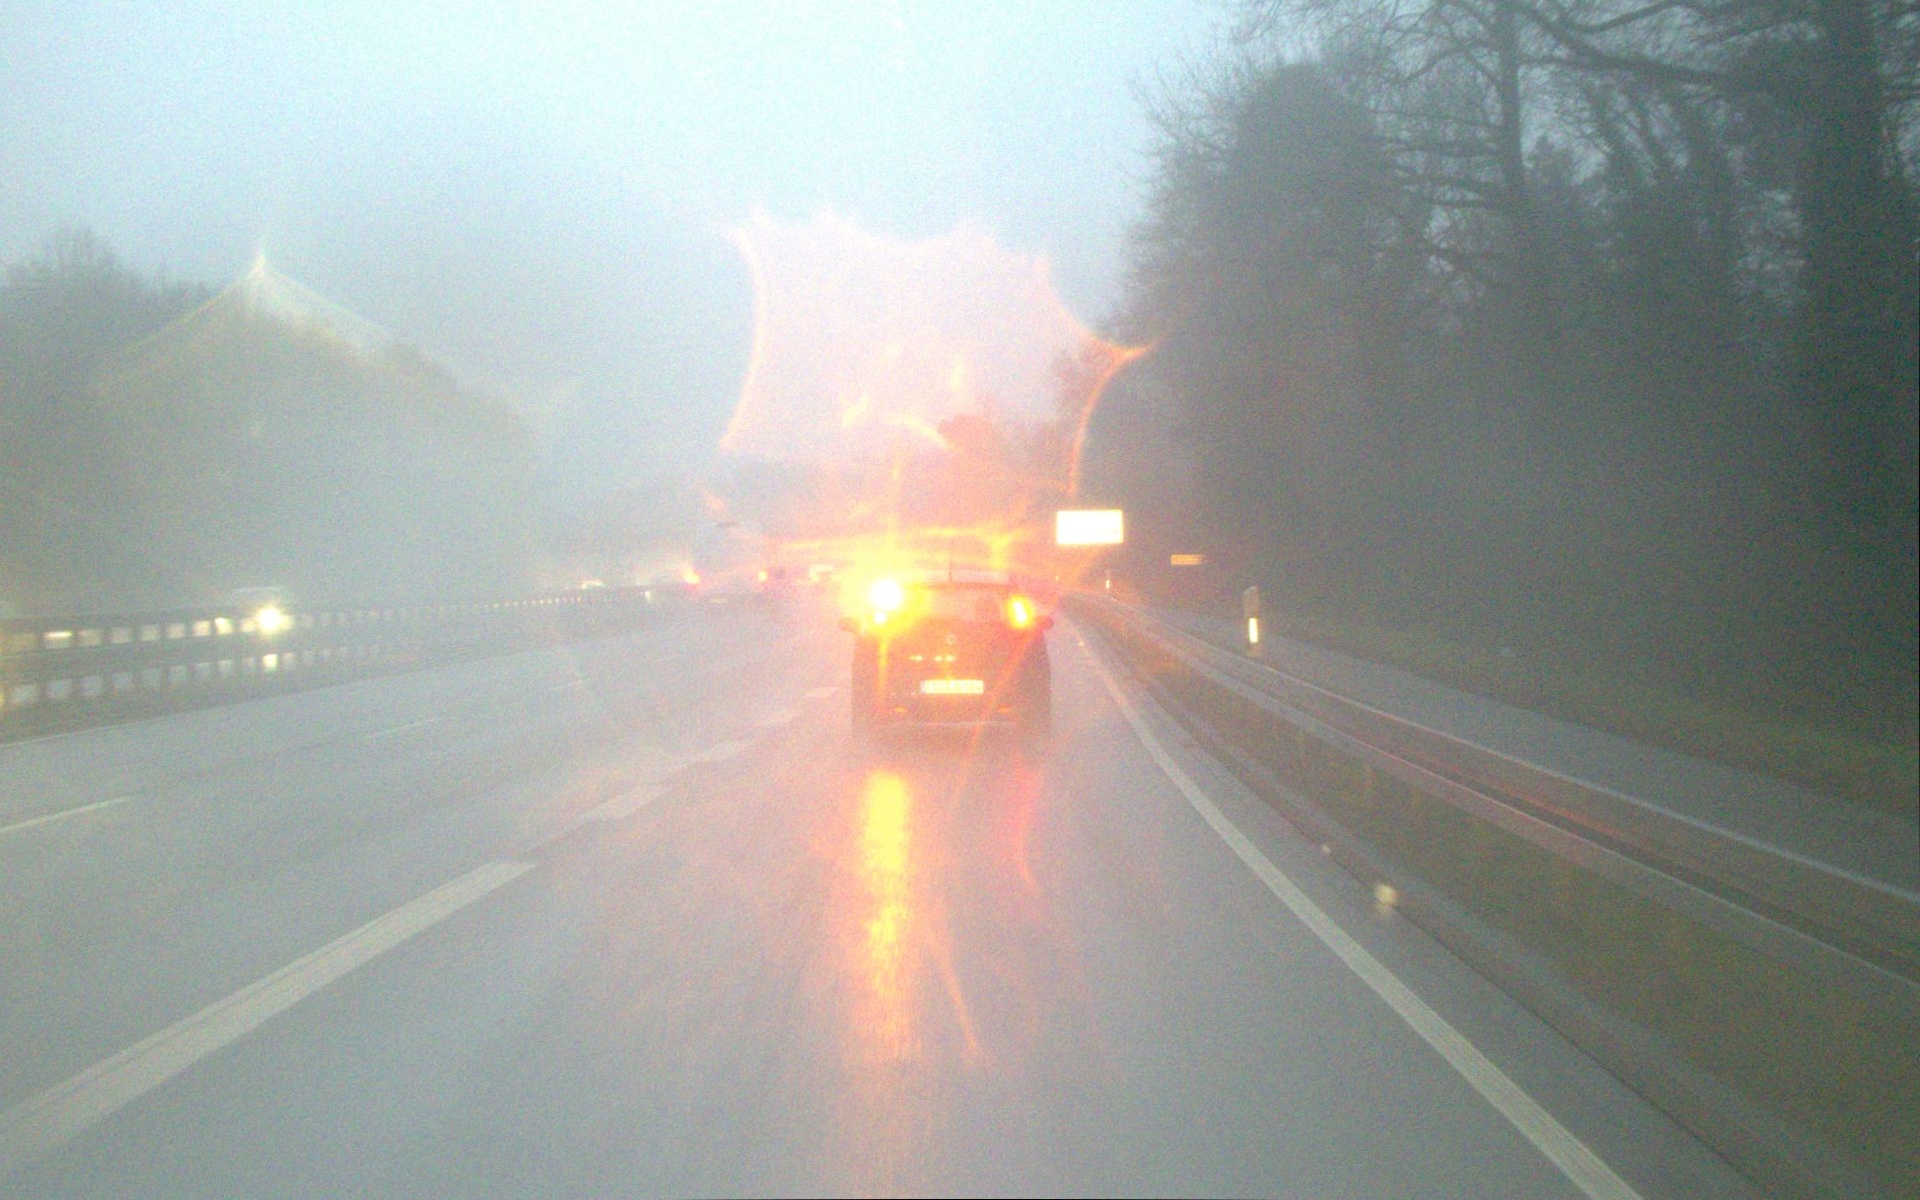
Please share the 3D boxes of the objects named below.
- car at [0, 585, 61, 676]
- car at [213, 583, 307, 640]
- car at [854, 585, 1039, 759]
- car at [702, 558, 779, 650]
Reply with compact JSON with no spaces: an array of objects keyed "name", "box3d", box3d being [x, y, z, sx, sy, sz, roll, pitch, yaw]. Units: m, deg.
[{"name":"car","box3d":[-16.209,0.488,56.602,1.545,1.438,4.362,1,1,1]},{"name":"car","box3d":[-19.259,0.308,94.699,1.545,1.507,4.540,0,0,1]},{"name":"car","box3d":[-0.165,0.594,30.495,1.527,1.411,3.479,1,1,-2]},{"name":"car","box3d":[-5.999,0.087,93.806,2.000,2.445,4.001,1,1,-4]}]
